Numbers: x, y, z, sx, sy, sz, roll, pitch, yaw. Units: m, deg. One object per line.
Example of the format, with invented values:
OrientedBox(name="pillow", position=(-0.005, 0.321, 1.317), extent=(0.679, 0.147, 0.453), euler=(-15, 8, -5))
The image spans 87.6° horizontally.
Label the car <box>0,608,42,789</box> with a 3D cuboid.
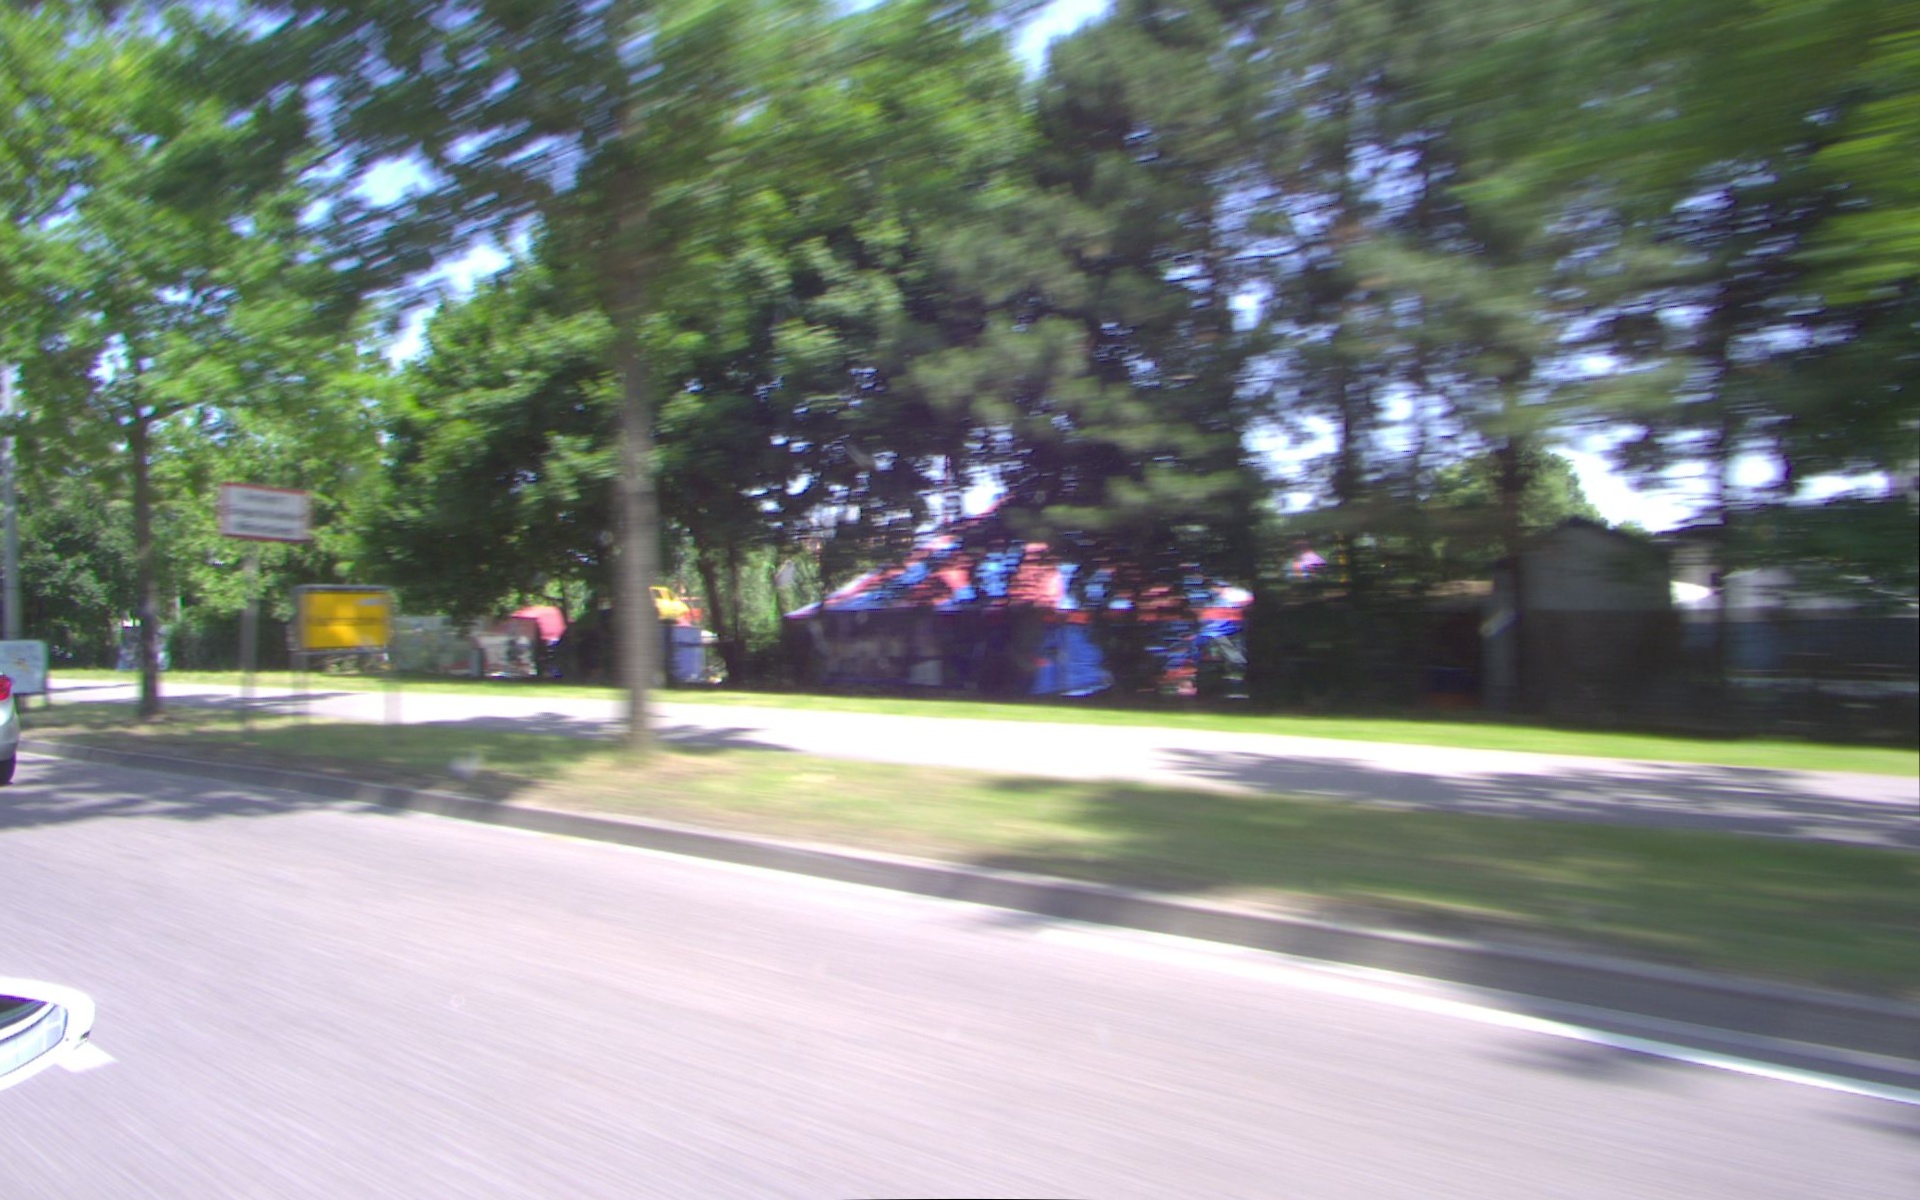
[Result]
OrientedBox(name="car", position=(-10.621, 0.893, 9.581), extent=(3.835, 1.632, 1.789), euler=(-1, -1, 33))
